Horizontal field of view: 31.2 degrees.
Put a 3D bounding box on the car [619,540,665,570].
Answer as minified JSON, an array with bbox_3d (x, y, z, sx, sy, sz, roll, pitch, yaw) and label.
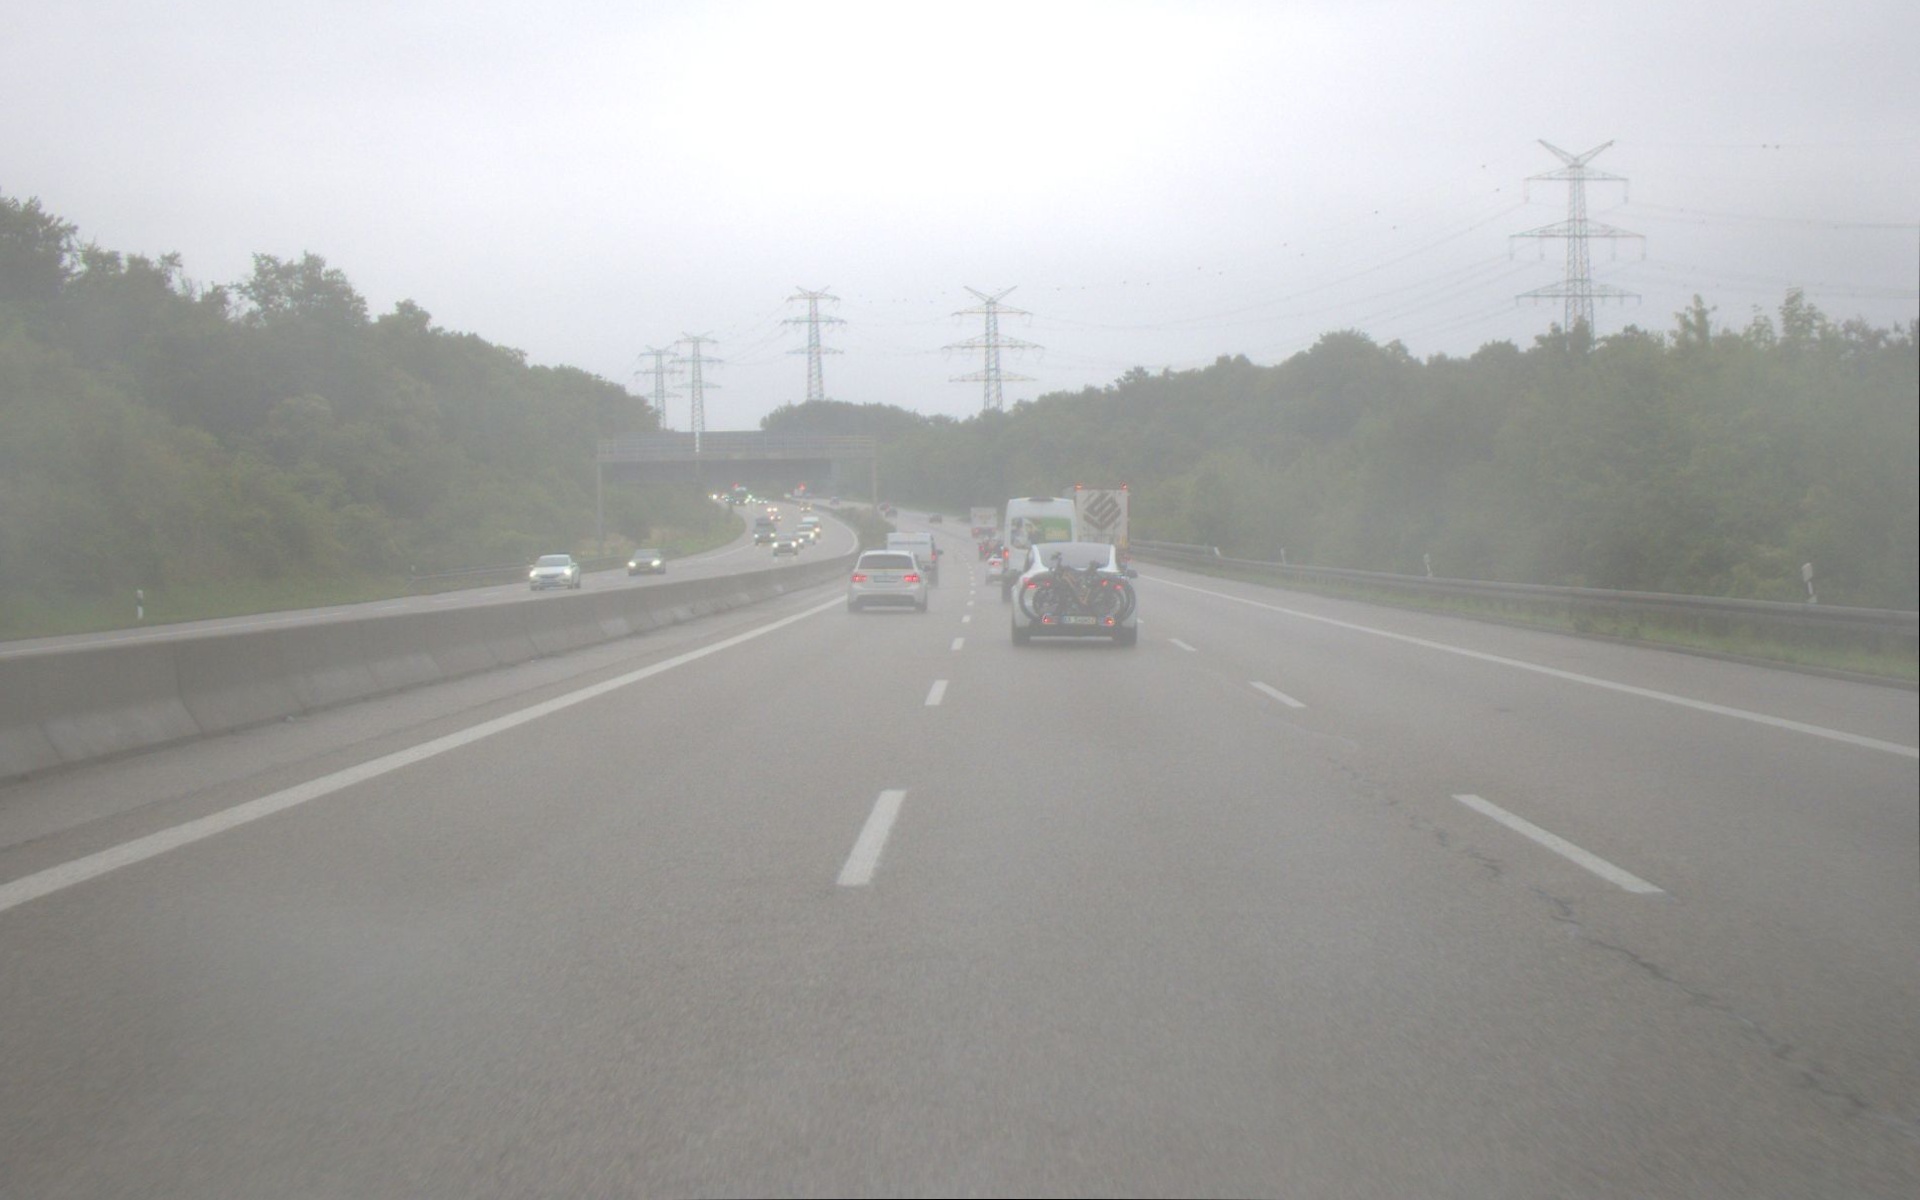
[{"bbox_3d":[-17.689,-2.477,191.118,1.994,1.612,4.000,1,0,3],"label":"car"}]

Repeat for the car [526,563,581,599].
[{"bbox_3d":[-17.101,-0.808,144.772,1.797,1.445,4.629,-2,1,0],"label":"car"}]

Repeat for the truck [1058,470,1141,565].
[{"bbox_3d":[6.573,-3.931,163.738,3.603,4.317,13.200,0,1,1],"label":"truck"}]

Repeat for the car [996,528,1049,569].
[{"bbox_3d":[2.228,-1.884,124.219,1.857,1.417,4.000,0,2,0],"label":"car"}]

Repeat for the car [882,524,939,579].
[{"bbox_3d":[-1.660,-1.608,115.548,1.846,1.766,4.000,1,0,-1],"label":"car"}]

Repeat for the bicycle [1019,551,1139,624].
[{"bbox_3d":[1.764,-0.185,51.234,1.753,1.087,0.914,0,0,-1],"label":"bicycle"}]

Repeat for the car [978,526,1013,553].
[{"bbox_3d":[2.194,-3.719,212.297,1.993,1.568,4.000,-1,1,-1],"label":"car"}]

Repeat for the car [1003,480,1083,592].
[{"bbox_3d":[2.185,-1.702,91.418,1.993,2.854,4.000,-2,1,1],"label":"car"}]

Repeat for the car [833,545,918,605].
[{"bbox_3d":[-1.898,-0.581,78.332,1.866,1.284,4.000,-2,1,-1],"label":"car"}]

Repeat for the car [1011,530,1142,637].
[{"bbox_3d":[1.783,-0.300,54.178,1.860,1.562,4.964,0,1,0],"label":"car"}]
